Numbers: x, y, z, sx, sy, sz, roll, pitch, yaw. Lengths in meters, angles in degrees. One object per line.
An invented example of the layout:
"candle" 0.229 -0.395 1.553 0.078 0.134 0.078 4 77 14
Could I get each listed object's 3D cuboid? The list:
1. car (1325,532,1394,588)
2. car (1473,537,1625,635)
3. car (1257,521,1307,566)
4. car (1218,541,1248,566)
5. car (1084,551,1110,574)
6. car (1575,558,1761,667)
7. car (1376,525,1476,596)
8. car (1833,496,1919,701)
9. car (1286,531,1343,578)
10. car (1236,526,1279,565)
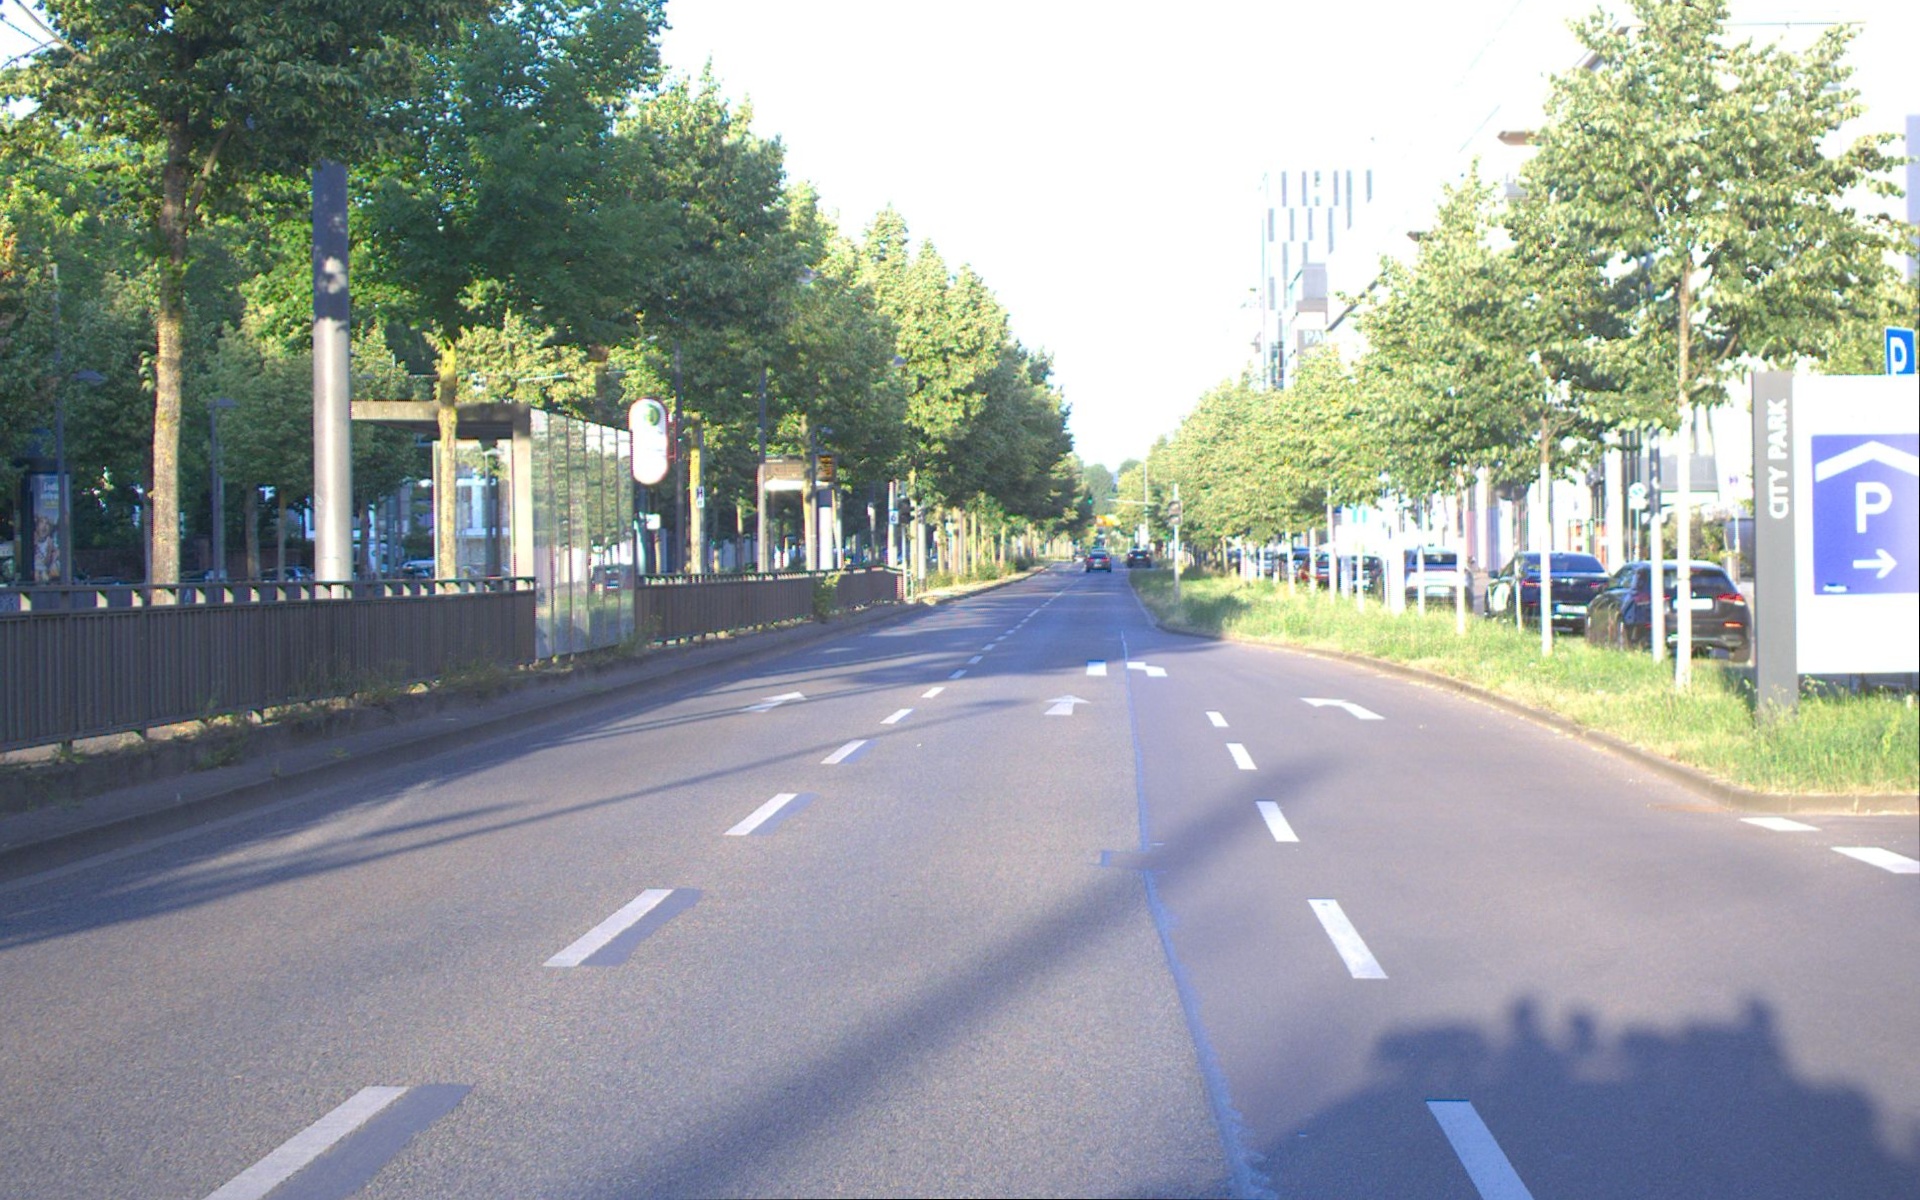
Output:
"car" 12.691 -1.282 109.399 2.029 1.691 4.396 1 1 5
"car" 10.844 -0.292 63.608 1.993 1.691 4.594 1 1 0
"car" 14.518 -2.549 155.105 1.993 2.007 4.000 0 1 2
"car" 17.616 -3.014 222.103 1.695 1.590 4.000 -2 1 1
"car" 9.676 -2.640 243.232 1.695 1.590 4.000 -2 1 1
"car" 10.118 0.146 49.439 1.825 1.430 4.460 1 1 2
"car" 11.688 -1.002 86.463 1.993 1.691 4.415 1 1 2
"car" 9.536 -0.018 32.027 1.851 1.821 4.394 1 1 3
"car" 13.713 -1.782 133.096 1.895 1.765 3.947 0 1 2
"car" 15.618 -2.874 180.506 1.993 2.007 4.000 0 1 2
